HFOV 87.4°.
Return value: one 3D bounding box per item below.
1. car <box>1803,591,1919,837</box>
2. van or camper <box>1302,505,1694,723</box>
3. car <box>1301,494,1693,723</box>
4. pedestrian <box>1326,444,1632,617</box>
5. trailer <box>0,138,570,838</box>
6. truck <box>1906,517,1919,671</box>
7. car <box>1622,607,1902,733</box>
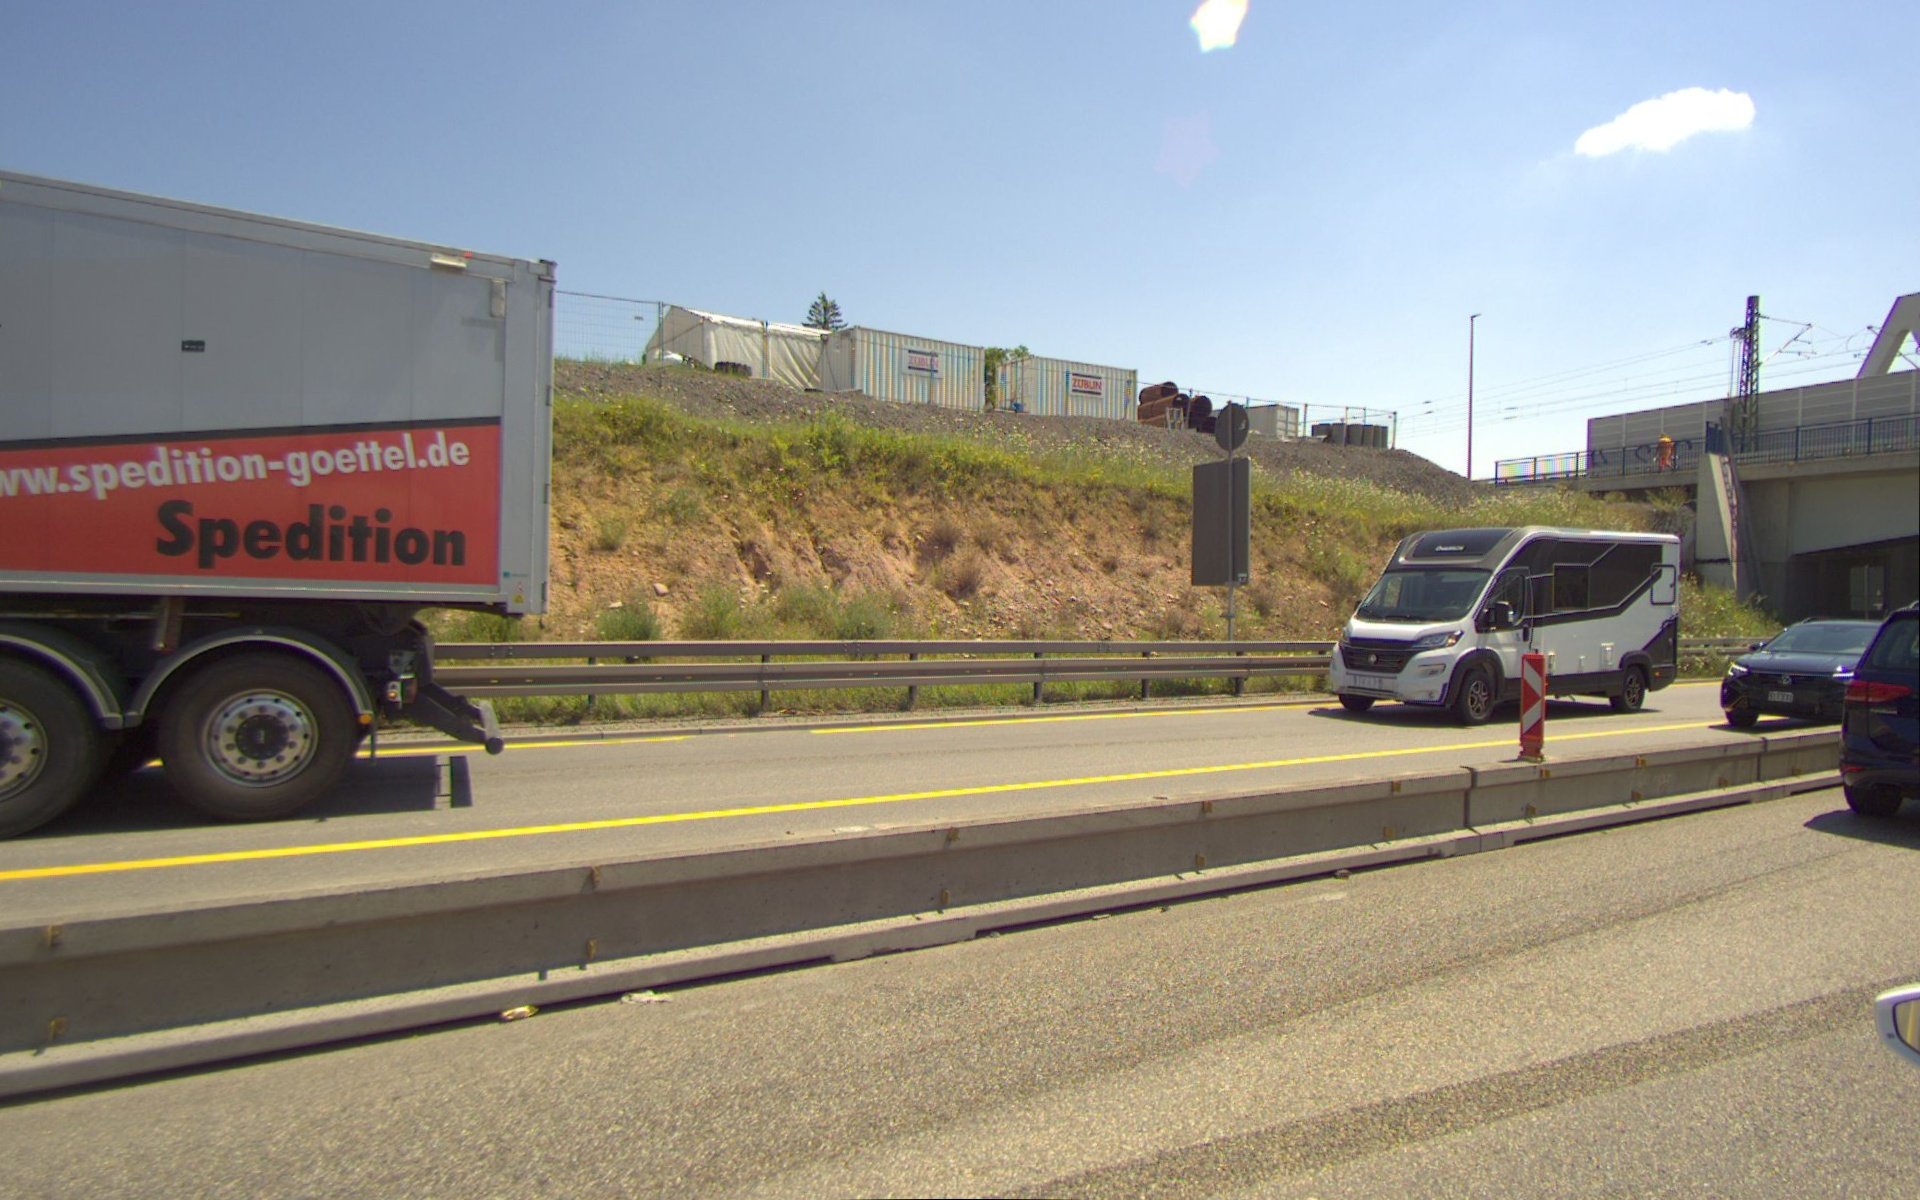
[{"bbox_3d":[8.478,0.818,7.653,4.337,1.657,1.726,1,0,-30],"label":"car"},{"bbox_3d":[8.243,0.226,15.159,6.378,2.741,2.114,1,1,-30],"label":"van or camper"},{"bbox_3d":[8.286,0.180,15.231,6.486,2.858,2.263,2,0,-32],"label":"car"},{"bbox_3d":[7.337,-0.849,14.156,3.953,2.040,1.984,2,0,-30],"label":"pedestrian"},{"bbox_3d":[-8.485,-0.719,5.323,11.675,3.866,2.644,2,0,-29],"label":"trailer"},{"bbox_3d":[28.524,-0.092,27.538,4.029,4.205,2.782,2,0,-32],"label":"truck"},{"bbox_3d":[11.531,0.899,14.395,4.137,1.538,1.745,0,1,-30],"label":"car"}]
